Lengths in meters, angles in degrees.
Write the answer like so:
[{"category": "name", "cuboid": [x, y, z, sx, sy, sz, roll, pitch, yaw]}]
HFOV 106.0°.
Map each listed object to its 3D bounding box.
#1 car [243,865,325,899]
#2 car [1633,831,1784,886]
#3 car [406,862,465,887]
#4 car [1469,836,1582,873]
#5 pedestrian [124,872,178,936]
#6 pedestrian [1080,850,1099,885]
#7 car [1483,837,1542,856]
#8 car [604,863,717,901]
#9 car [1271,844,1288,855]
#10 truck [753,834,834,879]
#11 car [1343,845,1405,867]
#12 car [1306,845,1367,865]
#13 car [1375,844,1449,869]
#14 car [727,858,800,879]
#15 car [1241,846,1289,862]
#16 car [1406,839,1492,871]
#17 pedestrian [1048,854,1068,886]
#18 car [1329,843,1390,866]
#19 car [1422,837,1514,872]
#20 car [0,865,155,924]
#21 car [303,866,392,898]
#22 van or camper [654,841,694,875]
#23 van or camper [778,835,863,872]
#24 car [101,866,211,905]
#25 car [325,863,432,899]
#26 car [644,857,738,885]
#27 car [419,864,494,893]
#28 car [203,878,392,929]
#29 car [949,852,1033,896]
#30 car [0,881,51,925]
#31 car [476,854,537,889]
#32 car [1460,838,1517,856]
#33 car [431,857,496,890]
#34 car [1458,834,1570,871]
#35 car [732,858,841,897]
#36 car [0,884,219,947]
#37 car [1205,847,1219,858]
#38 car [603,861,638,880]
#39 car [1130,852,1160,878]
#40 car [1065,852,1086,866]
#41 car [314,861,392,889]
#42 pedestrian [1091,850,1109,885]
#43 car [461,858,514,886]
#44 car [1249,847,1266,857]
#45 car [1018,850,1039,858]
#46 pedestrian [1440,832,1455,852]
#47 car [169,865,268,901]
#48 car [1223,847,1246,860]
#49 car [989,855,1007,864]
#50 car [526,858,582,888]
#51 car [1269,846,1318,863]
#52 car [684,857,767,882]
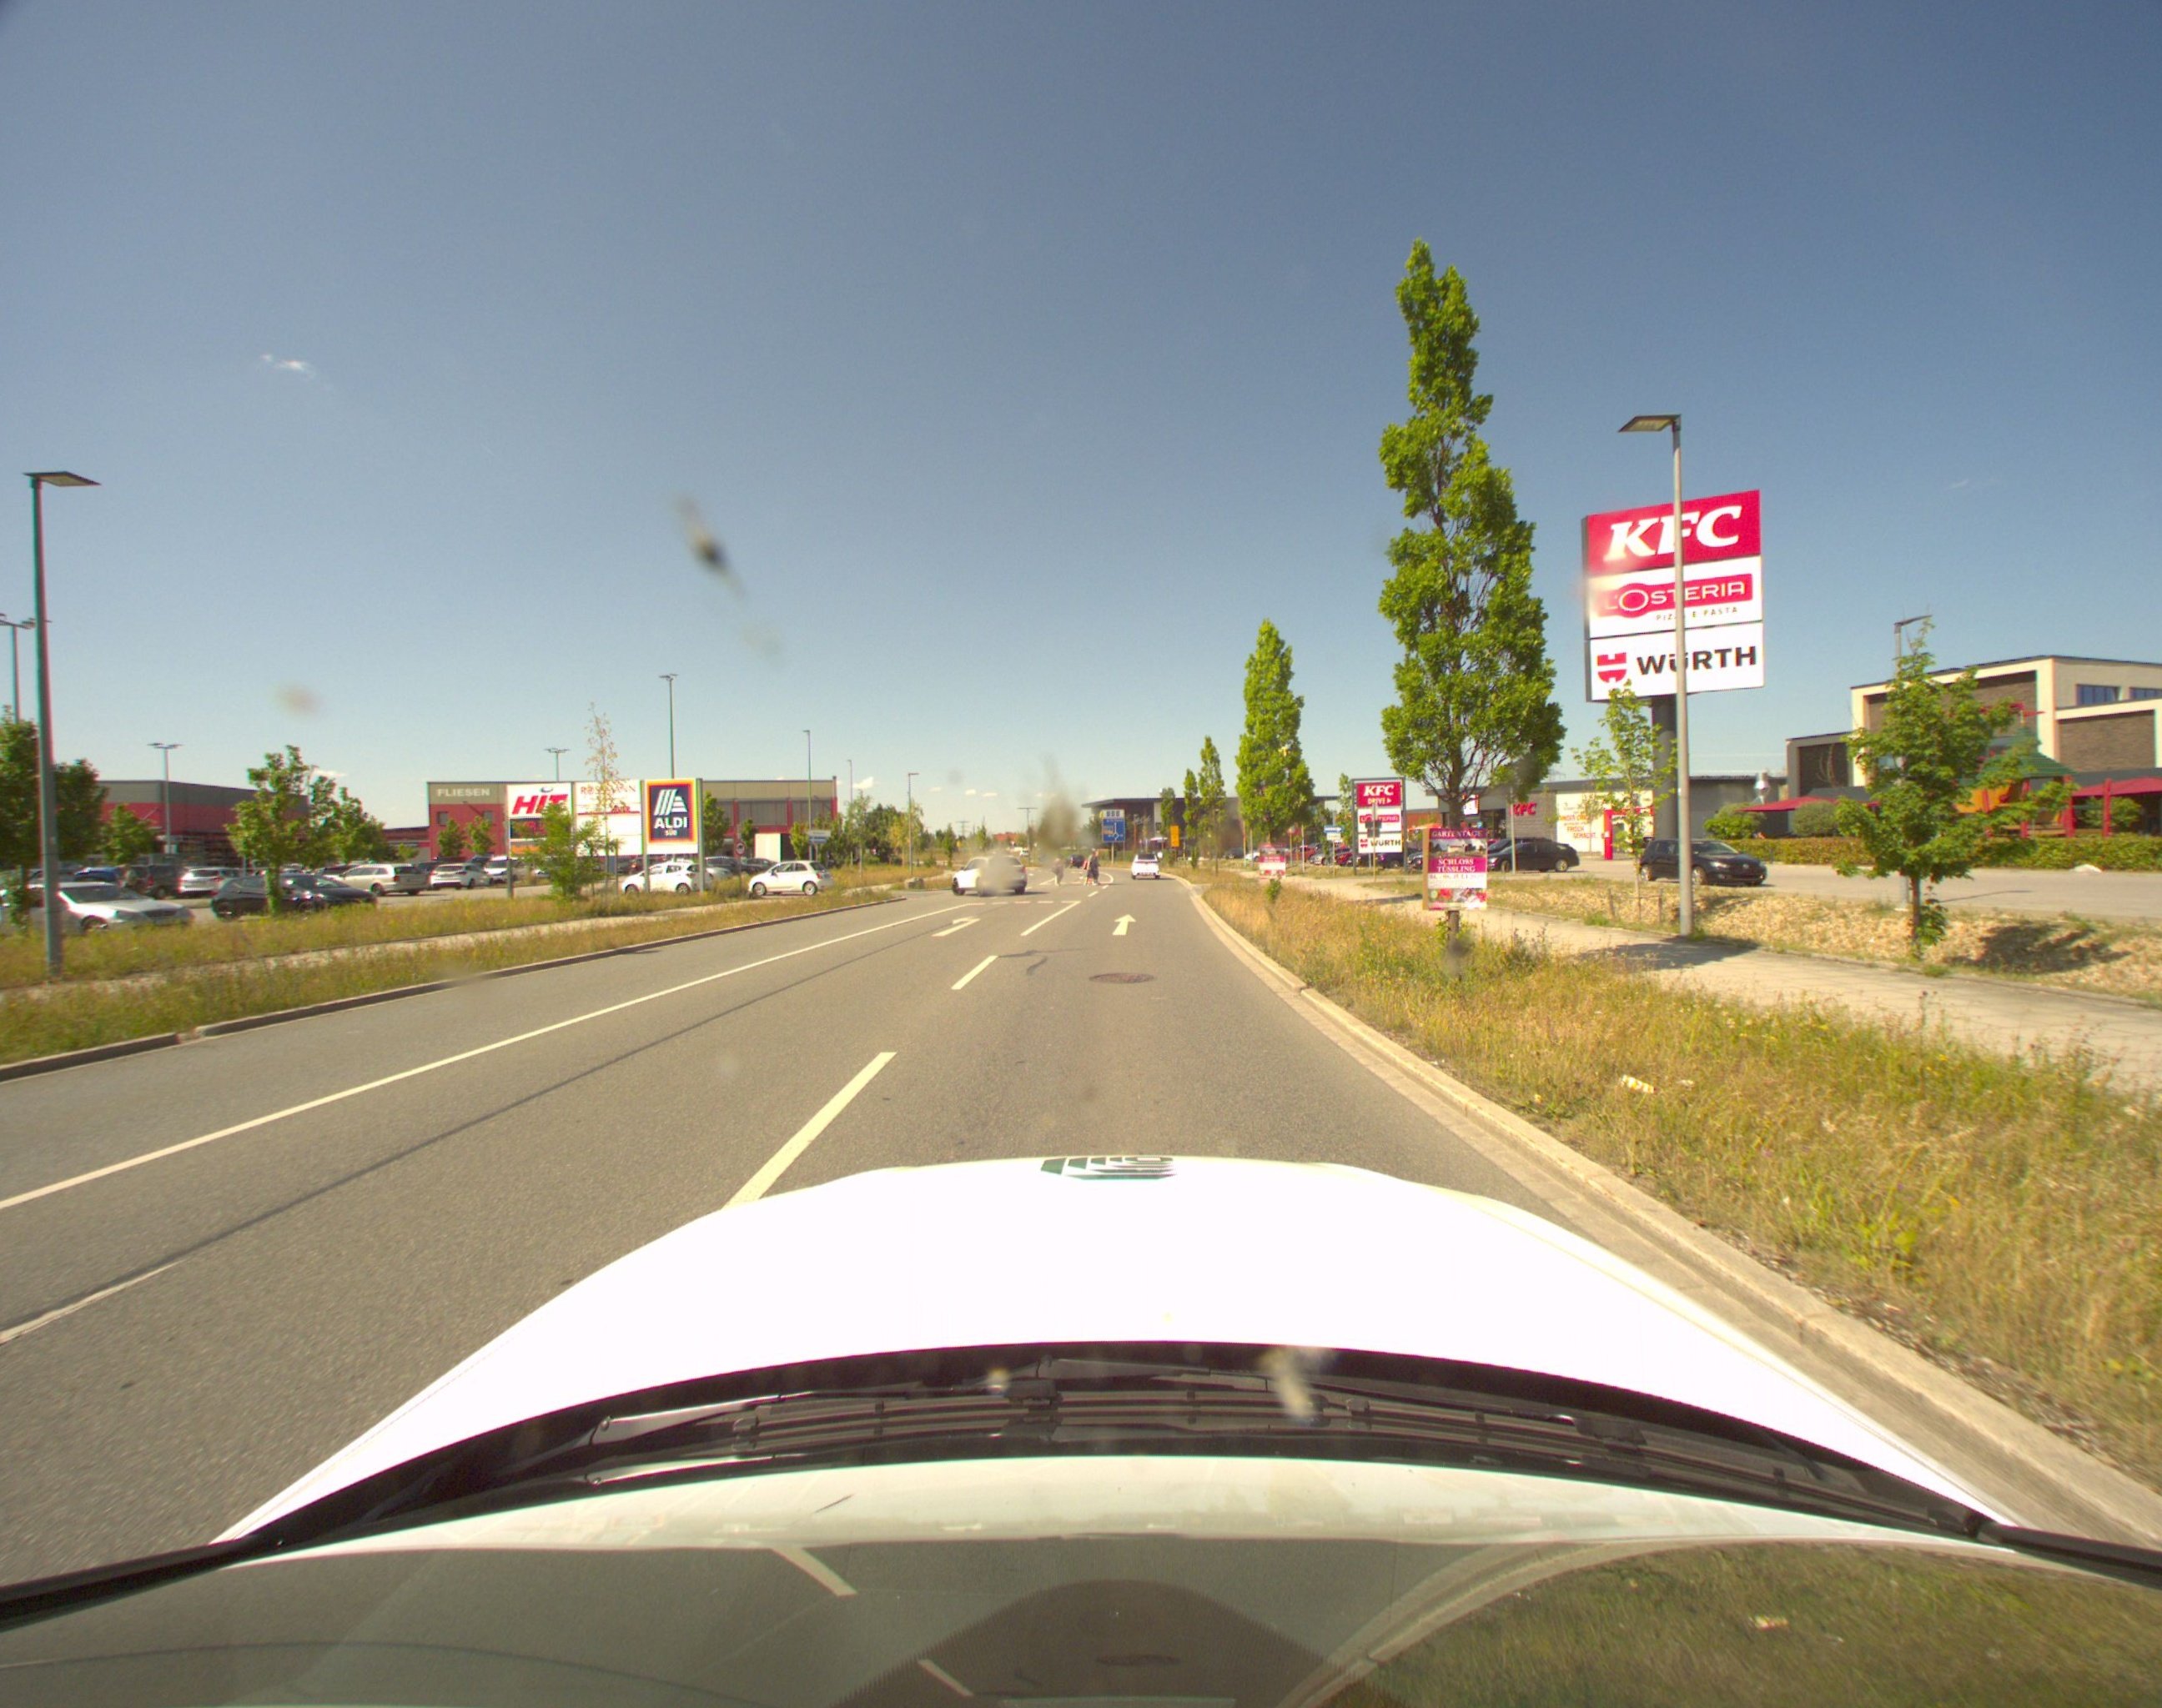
[{"category": "car", "cuboid": [-43.244, 1.477, 44.322, 1.921, 1.718, 4.344, -1, 0, -26]}, {"category": "car", "cuboid": [19.679, 0.125, 25.795, 1.772, 1.540, 4.174, -2, 0, 4]}, {"category": "car", "cuboid": [-48.186, 1.484, 60.898, 1.836, 1.773, 4.358, -1, 0, -16]}, {"category": "car", "cuboid": [21.434, 0.013, 39.374, 4.394, 1.566, 1.994, -2, 1, -2]}, {"category": "pedestrian", "cuboid": [-25.273, 1.344, 22.137, 0.761, 1.695, 0.579, -1, 0, 3]}, {"category": "pedestrian", "cuboid": [0.408, 0.637, 38.154, 0.805, 1.628, 0.867, -1, 0, 3]}, {"category": "car", "cuboid": [37.150, -0.659, 70.084, 4.568, 1.431, 1.857, -3, 1, -19]}, {"category": "car", "cuboid": [-18.511, 1.217, 35.976, 3.967, 1.547, 1.921, -2, 0, 5]}, {"category": "car", "cuboid": [30.308, -0.689, 124.374, 1.776, 1.702, 4.023, -2, 0, 23]}, {"category": "truck", "cuboid": [-23.825, 0.165, 67.870, 2.299, 3.464, 7.526, -1, 0, 16]}, {"category": "car", "cuboid": [22.302, 0.158, 62.037, 4.153, 1.449, 1.785, -3, 1, -10]}, {"category": "car", "cuboid": [21.670, 0.084, 69.027, 4.551, 1.490, 1.864, -3, 1, -7]}, {"category": "car", "cuboid": [21.848, 0.188, 53.887, 4.372, 1.449, 1.799, -2, 1, 16]}, {"category": "car", "cuboid": [-22.920, 1.037, 58.918, 4.413, 1.383, 1.974, -2, 0, -3]}, {"category": "car", "cuboid": [19.468, 0.019, 86.320, 4.527, 1.490, 1.862, -2, 1, -11]}, {"category": "car", "cuboid": [22.381, 0.029, 49.597, 4.391, 1.734, 1.791, -2, 1, 0]}, {"category": "pedestrian", "cuboid": [-1.075, 0.718, 38.179, 0.789, 1.470, 0.950, -1, 0, 3]}, {"category": "car", "cuboid": [22.011, 0.034, 64.398, 4.145, 1.665, 1.866, -2, 1, -4]}, {"category": "car", "cuboid": [21.961, 0.024, 46.340, 4.386, 1.734, 1.793, -2, 1, 4]}, {"category": "car", "cuboid": [-38.743, 1.478, 31.393, 1.716, 1.985, 4.805, -2, 0, -18]}, {"category": "car", "cuboid": [-40.594, 1.516, 45.230, 1.915, 1.617, 4.358, -1, 0, -16]}, {"category": "van or camper", "cuboid": [-41.672, 0.377, 83.579, 2.436, 3.271, 7.192, -1, 0, -18]}, {"category": "van or camper", "cuboid": [-25.734, -0.043, 80.674, 7.699, 3.468, 2.545, -2, 0, -13]}, {"category": "car", "cuboid": [-48.022, 1.582, 42.416, 1.918, 1.793, 4.351, -1, 0, -20]}, {"category": "car", "cuboid": [-32.824, 1.245, 38.075, 3.957, 1.547, 1.848, -2, 0, 16]}, {"category": "car", "cuboid": [-23.135, 0.972, 48.412, 4.595, 1.512, 1.836, -2, 0, -3]}, {"category": "car", "cuboid": [-35.138, 1.343, 45.965, 1.836, 1.512, 4.358, -1, 0, -16]}, {"category": "car", "cuboid": [-24.714, 1.532, 25.799, 4.127, 1.348, 1.938, -2, 0, 3]}, {"category": "car", "cuboid": [-3.603, 0.746, 31.996, 1.922, 1.547, 4.189, -1, 0, -27]}, {"category": "car", "cuboid": [-41.167, 1.878, 30.070, 1.716, 1.581, 4.328, -2, 0, -18]}, {"category": "car", "cuboid": [-36.588, 1.066, 51.991, 1.836, 2.065, 4.358, -1, 0, -16]}, {"category": "car", "cuboid": [36.255, -0.635, 72.448, 4.568, 1.431, 1.857, -3, 1, -19]}, {"category": "car", "cuboid": [-39.618, 1.215, 52.387, 1.836, 1.998, 4.358, -1, 0, -16]}, {"category": "car", "cuboid": [23.016, -0.091, 43.378, 4.969, 1.734, 1.938, -2, 1, -2]}, {"category": "car", "cuboid": [-12.735, 0.998, 35.356, 3.964, 1.547, 1.922, -2, 0, 8]}, {"category": "car", "cuboid": [-25.111, 1.551, 20.809, 4.127, 1.348, 1.938, -2, 0, 3]}, {"category": "car", "cuboid": [19.446, -0.208, 120.890, 1.780, 1.604, 4.014, -2, 0, 13]}, {"category": "car", "cuboid": [-39.609, 1.392, 70.112, 1.838, 1.562, 4.354, -1, 0, -19]}, {"category": "car", "cuboid": [3.643, 0.596, 46.618, 1.609, 1.434, 3.797, -2, 0, 4]}, {"category": "car", "cuboid": [-0.581, 0.565, 87.259, 1.617, 1.434, 3.779, -1, 0, -10]}, {"category": "car", "cuboid": [-44.973, 1.242, 50.426, 1.836, 1.582, 4.358, -1, 0, -16]}, {"category": "pedestrian", "cuboid": [0.892, 0.619, 38.728, 0.797, 1.629, 0.805, -1, 0, 3]}, {"category": "car", "cuboid": [-45.214, 1.310, 62.186, 1.836, 1.994, 4.358, -1, 0, -16]}, {"category": "car", "cuboid": [26.540, -0.327, 122.589, 1.777, 1.513, 4.022, -2, 0, 22]}, {"category": "car", "cuboid": [-10.364, 0.016, 160.110, 1.974, 1.464, 4.026, -1, 1, 36]}, {"category": "pedestrian", "cuboid": [36.178, -1.174, 80.333, 0.914, 2.013, 0.887, -2, 0, -14]}, {"category": "car", "cuboid": [-45.792, 1.476, 43.361, 1.919, 1.726, 4.349, -1, 0, -22]}, {"category": "car", "cuboid": [18.267, -0.058, 96.701, 1.681, 1.462, 4.193, -2, 0, 25]}, {"category": "car", "cuboid": [-14.330, 0.918, 141.489, 1.980, 1.440, 4.013, -2, 0, 11]}, {"category": "car", "cuboid": [-34.248, 1.188, 53.071, 1.836, 1.823, 4.358, -1, 0, -16]}, {"category": "car", "cuboid": [20.562, 0.058, 78.901, 4.206, 1.490, 1.862, -2, 1, -11]}, {"category": "car", "cuboid": [-23.347, 1.021, 53.622, 4.564, 1.458, 1.836, -2, 0, -3]}]
